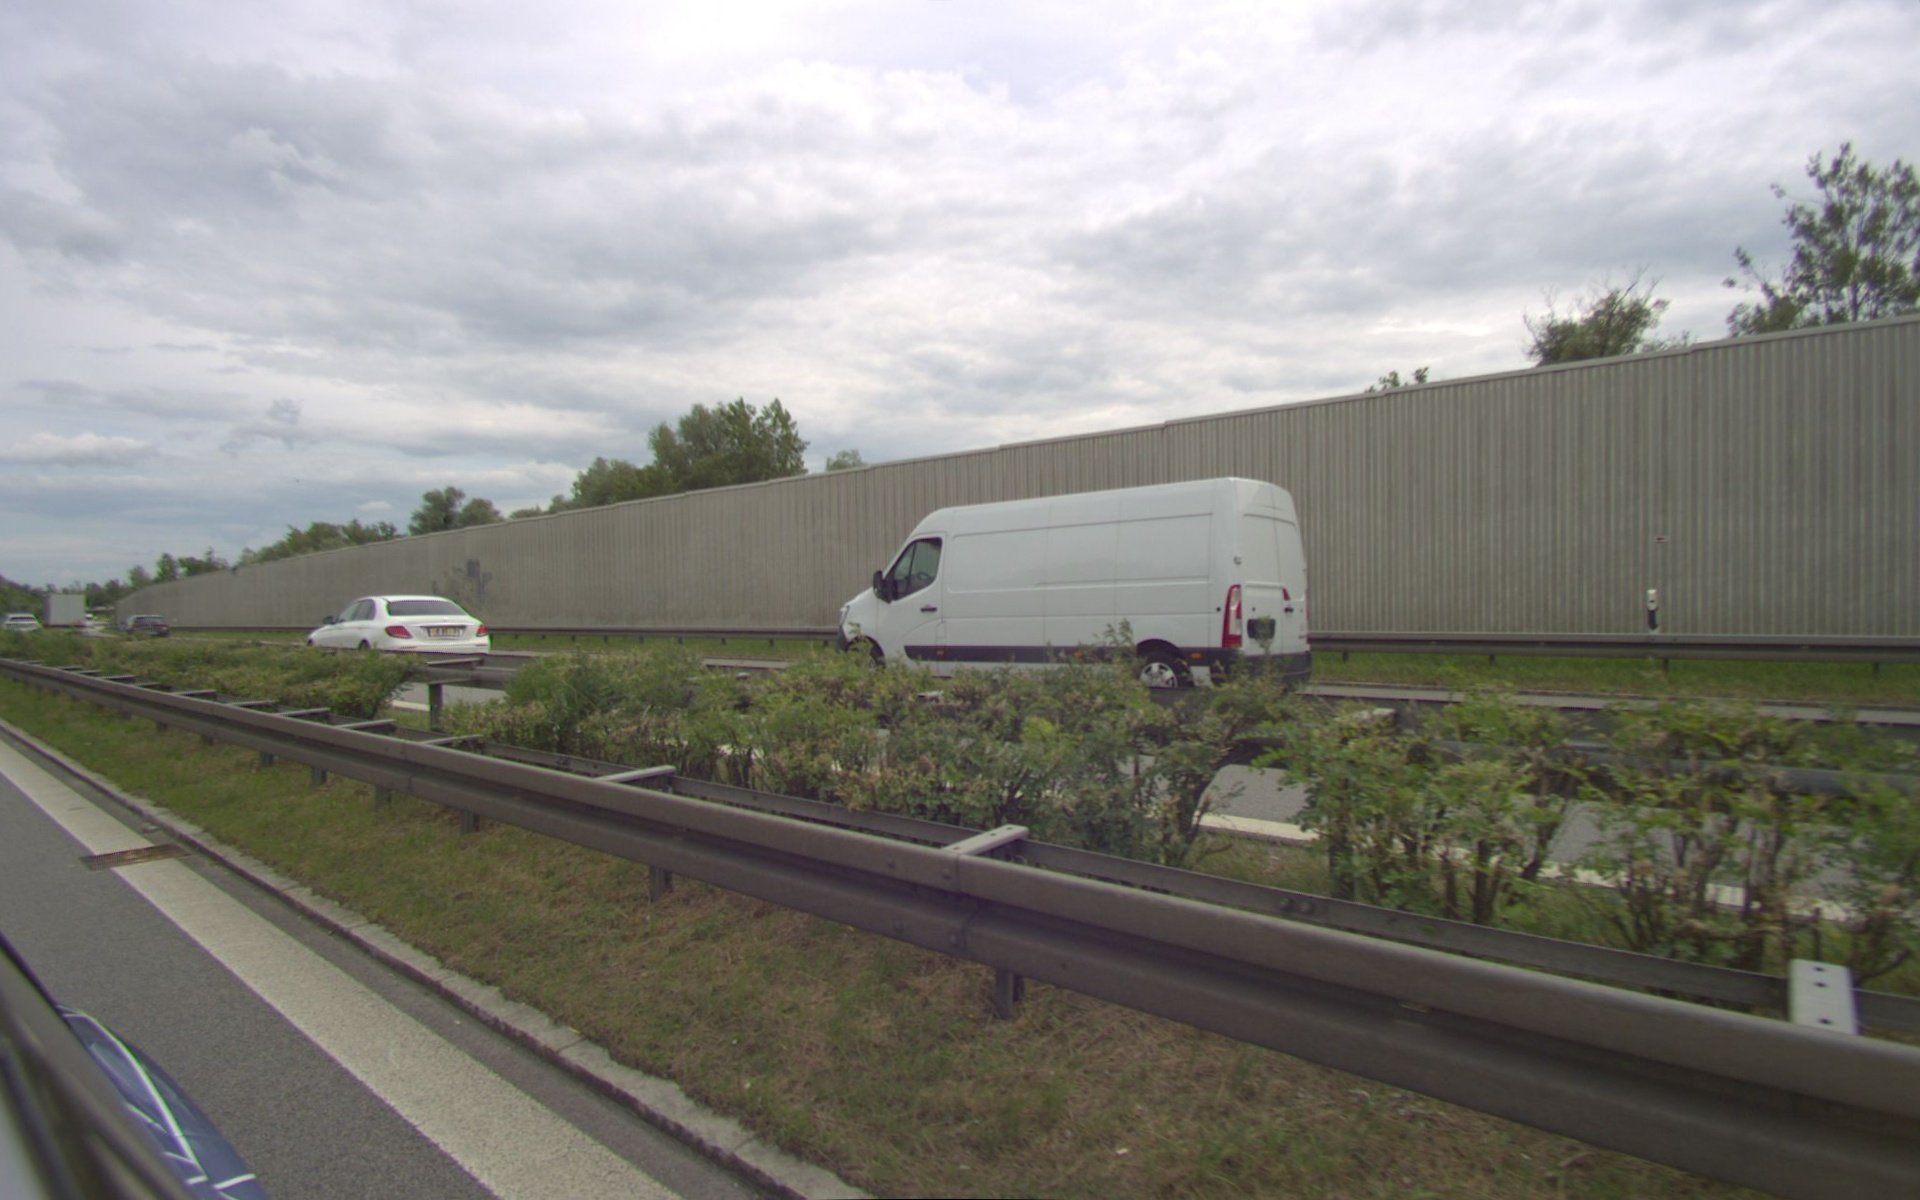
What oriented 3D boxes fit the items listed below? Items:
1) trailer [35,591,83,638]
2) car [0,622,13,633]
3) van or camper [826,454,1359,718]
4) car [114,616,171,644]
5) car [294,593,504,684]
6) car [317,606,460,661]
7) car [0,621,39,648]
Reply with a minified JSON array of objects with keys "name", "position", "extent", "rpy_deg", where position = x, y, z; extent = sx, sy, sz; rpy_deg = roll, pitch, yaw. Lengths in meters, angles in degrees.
[{"name":"trailer","position":[-87.526,1.411,98.204],"extent":[2.947,4.272,14.190],"rpy_deg":[-1,-1,-44]},{"name":"car","position":[-138.208,4.033,146.137],"extent":[1.909,1.560,4.569],"rpy_deg":[-1,-1,-45]},{"name":"van or camper","position":[1.258,-0.062,12.200],"extent":[6.303,2.460,1.973],"rpy_deg":[-1,-2,40]},{"name":"car","position":[-43.314,1.568,53.583],"extent":[4.554,1.428,1.703],"rpy_deg":[-1,-1,43]},{"name":"car","position":[-10.250,0.646,18.304],"extent":[4.966,1.425,1.786],"rpy_deg":[-1,0,42]},{"name":"car","position":[-15.906,0.899,28.042],"extent":[4.966,1.375,1.972],"rpy_deg":[-1,0,42]},{"name":"car","position":[-63.636,2.295,68.163],"extent":[4.924,1.682,1.942],"rpy_deg":[-1,0,43]}]
